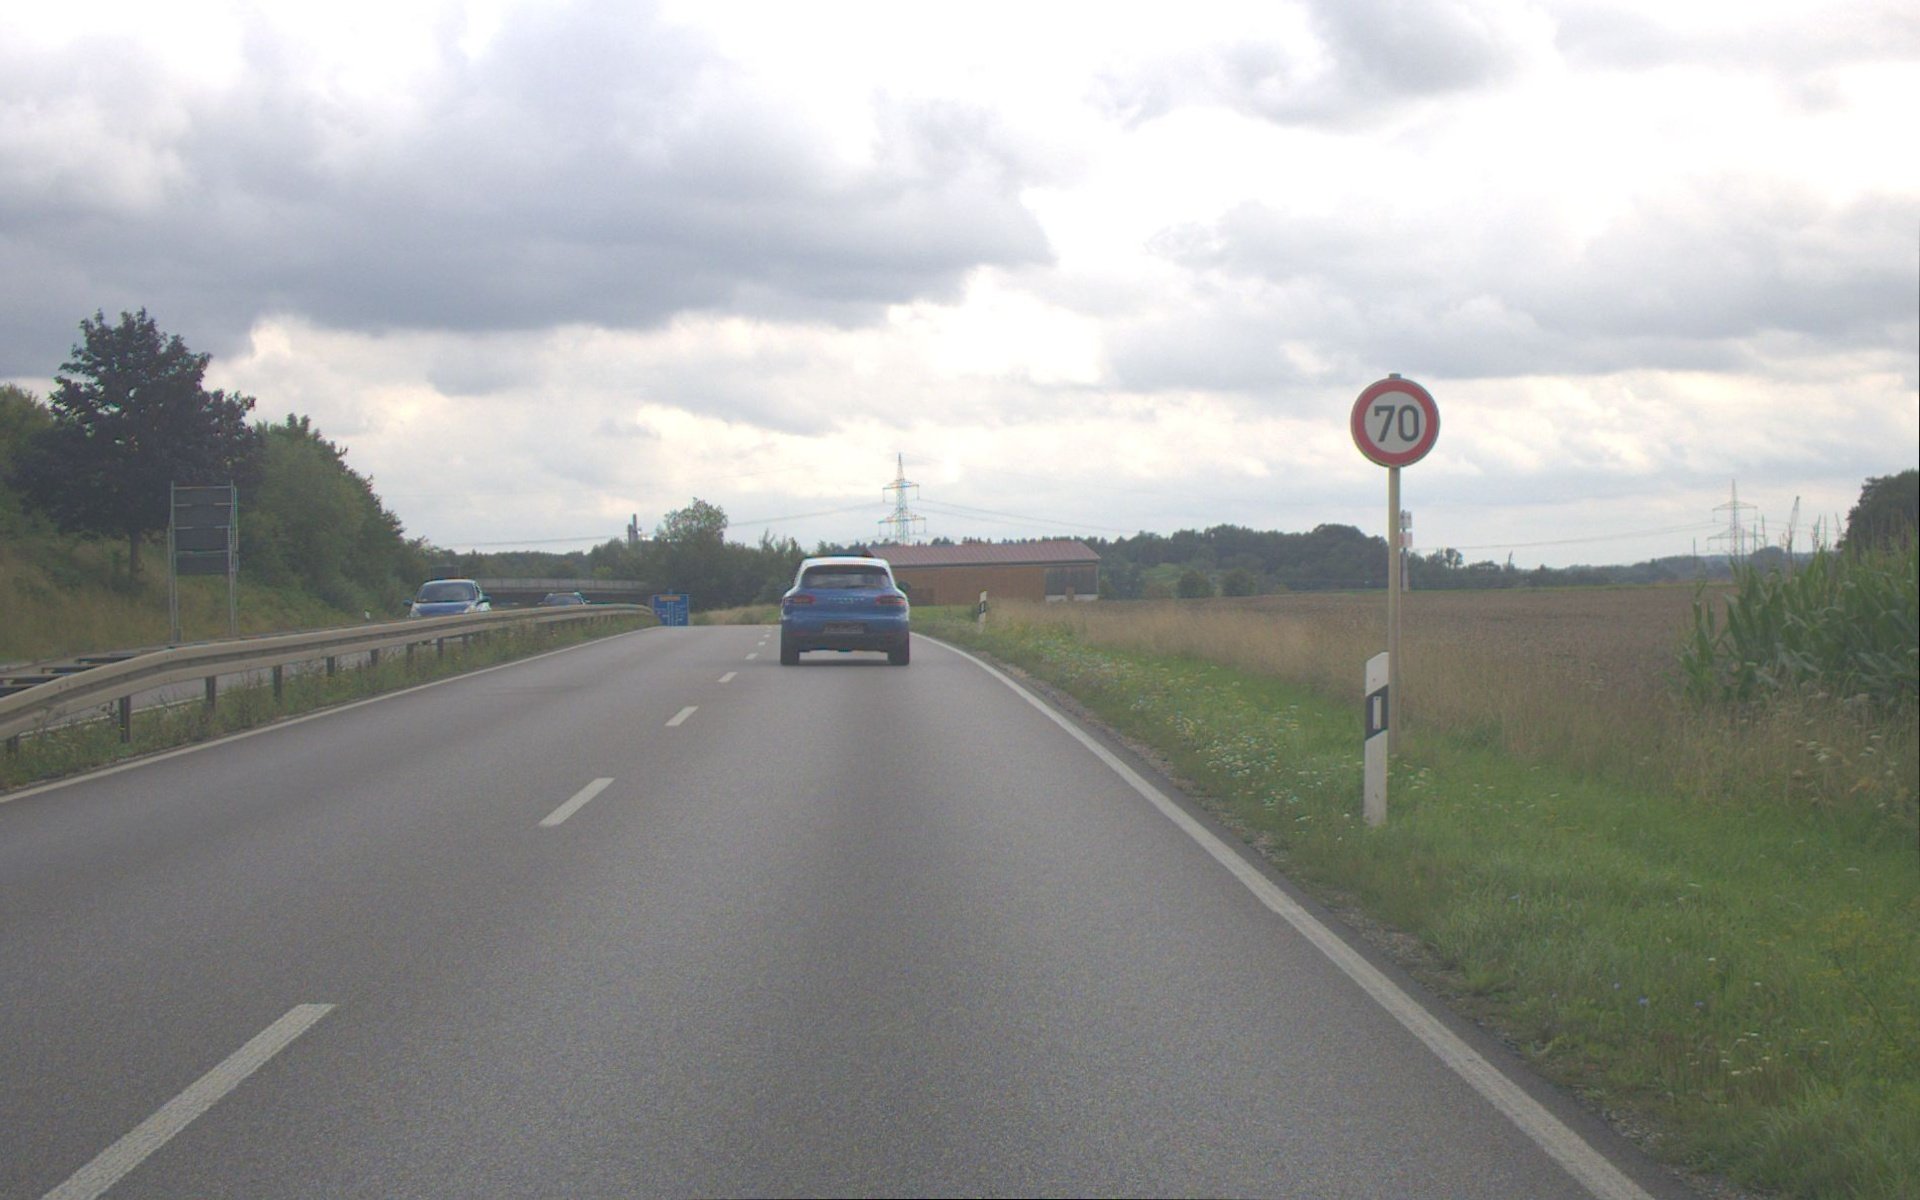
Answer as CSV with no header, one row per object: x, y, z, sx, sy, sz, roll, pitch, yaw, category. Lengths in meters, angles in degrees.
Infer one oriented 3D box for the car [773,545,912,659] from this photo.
-1.798,0.008,52.461,2.033,1.655,4.544,0,1,-2,car

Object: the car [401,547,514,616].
-11.752,-0.458,80.600,2.086,1.514,4.193,-1,1,-1,car
